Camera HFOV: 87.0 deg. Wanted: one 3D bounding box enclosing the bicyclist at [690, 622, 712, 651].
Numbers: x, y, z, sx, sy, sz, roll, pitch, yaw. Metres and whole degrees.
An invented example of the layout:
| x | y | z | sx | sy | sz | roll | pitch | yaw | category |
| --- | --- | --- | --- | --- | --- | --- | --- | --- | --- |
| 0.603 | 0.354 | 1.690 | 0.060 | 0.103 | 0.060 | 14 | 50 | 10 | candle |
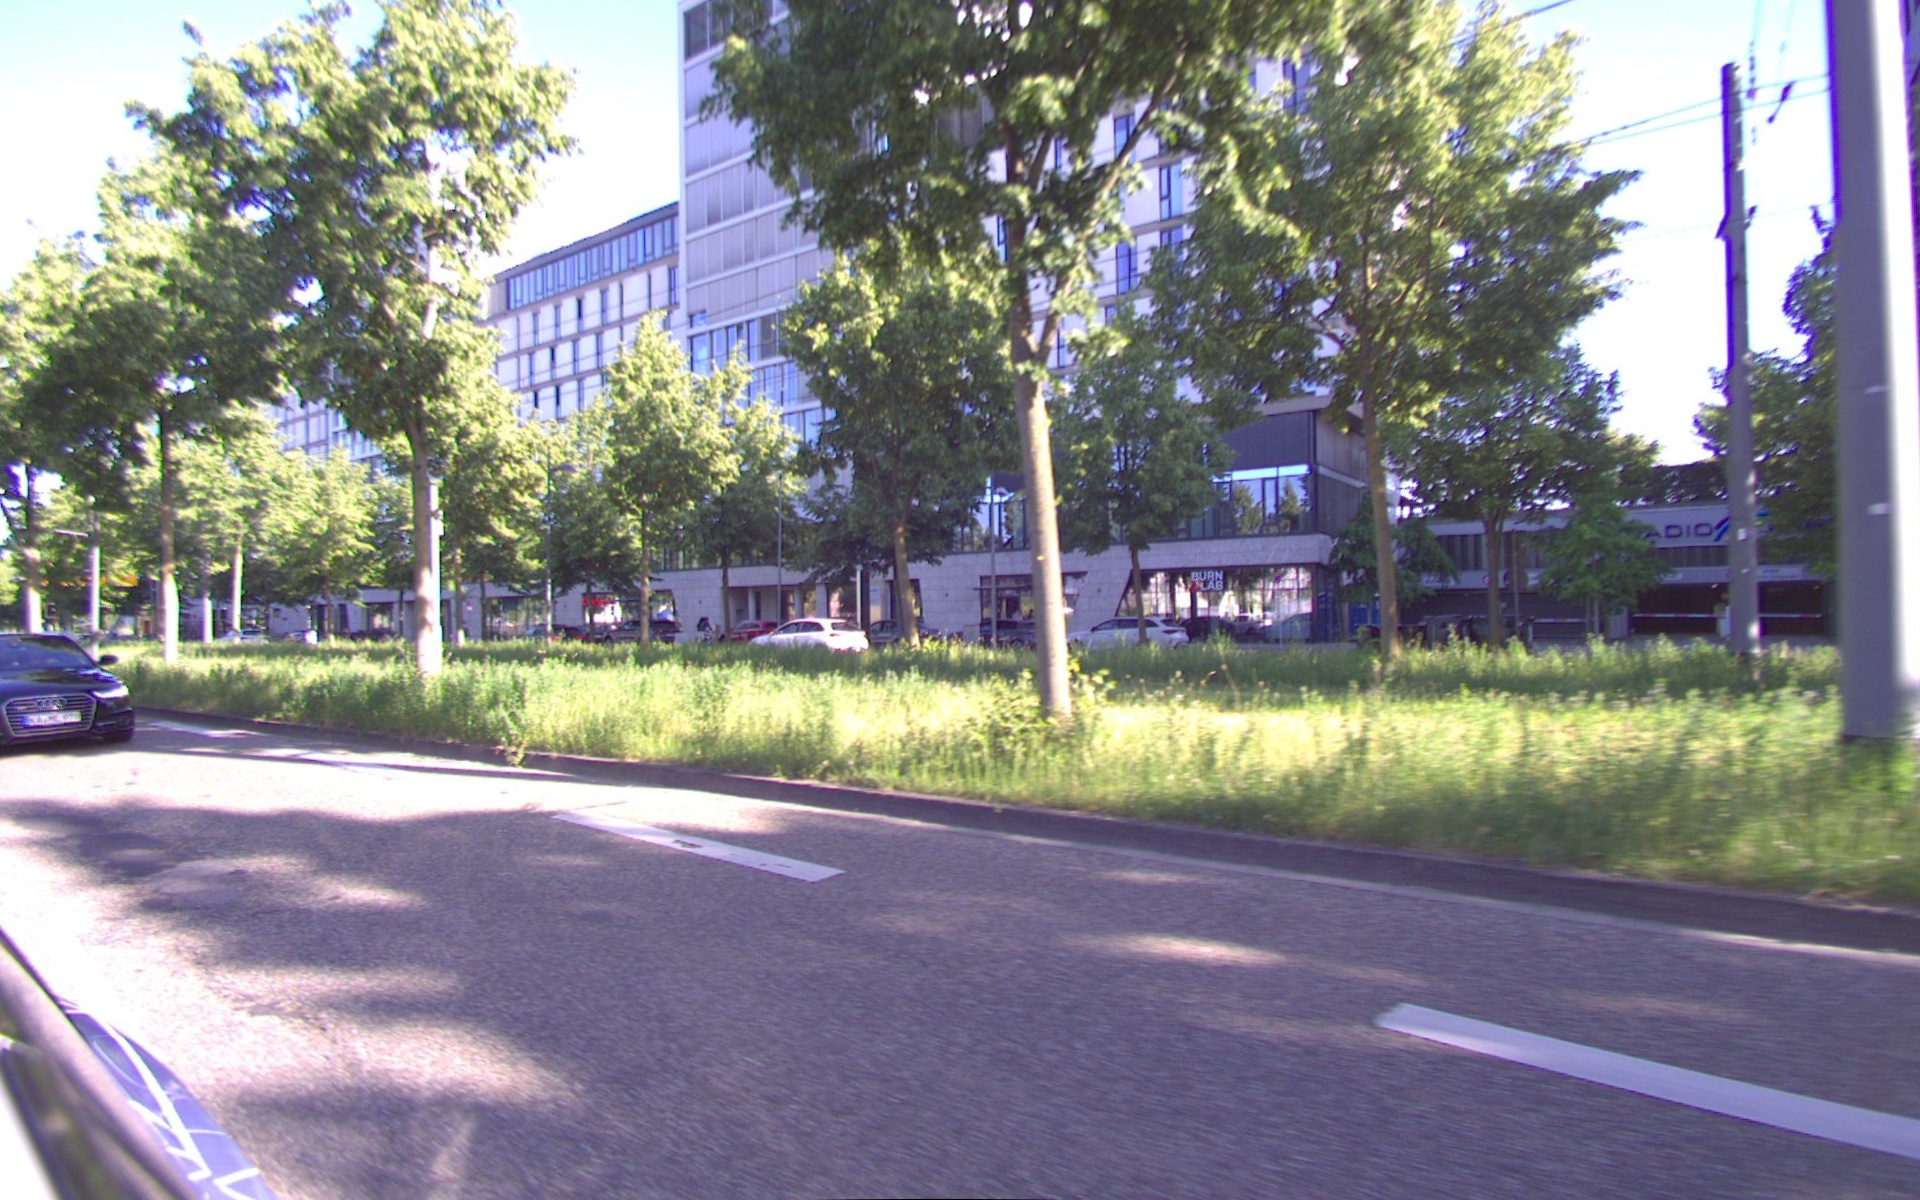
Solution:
| x | y | z | sx | sy | sz | roll | pitch | yaw | category |
| --- | --- | --- | --- | --- | --- | --- | --- | --- | --- |
| -13.361 | 1.878 | 52.289 | 0.830 | 1.474 | 0.713 | -3 | -2 | 38 | bicyclist |

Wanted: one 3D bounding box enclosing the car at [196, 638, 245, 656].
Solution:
| x | y | z | sx | sy | sz | roll | pitch | yaw | category |
| --- | --- | --- | --- | --- | --- | --- | --- | --- | --- |
| -62.573 | 3.950 | 85.581 | 4.534 | 1.431 | 1.982 | -2 | -1 | 35 | car |

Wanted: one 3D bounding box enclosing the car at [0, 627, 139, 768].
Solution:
| x | y | z | sx | sy | sz | roll | pitch | yaw | category |
| --- | --- | --- | --- | --- | --- | --- | --- | --- | --- |
| -12.291 | 1.170 | 12.964 | 4.594 | 1.538 | 1.767 | -2 | -1 | 38 | car |

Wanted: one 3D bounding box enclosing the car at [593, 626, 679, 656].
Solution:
| x | y | z | sx | sy | sz | roll | pitch | yaw | category |
| --- | --- | --- | --- | --- | --- | --- | --- | --- | --- |
| -16.592 | 2.115 | 51.664 | 4.794 | 1.430 | 1.653 | -2 | -2 | 36 | car |

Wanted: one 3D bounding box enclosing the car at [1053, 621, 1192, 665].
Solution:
| x | y | z | sx | sy | sz | roll | pitch | yaw | category |
| --- | --- | --- | --- | --- | --- | --- | --- | --- | --- |
| 5.626 | 1.501 | 35.320 | 4.536 | 1.431 | 1.700 | -2 | -2 | 36 | car |

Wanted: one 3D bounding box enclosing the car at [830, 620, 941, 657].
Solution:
| x | y | z | sx | sy | sz | roll | pitch | yaw | category |
| --- | --- | --- | --- | --- | --- | --- | --- | --- | --- |
| -3.091 | 1.572 | 41.575 | 4.536 | 1.431 | 1.700 | -2 | -1 | 36 | car |

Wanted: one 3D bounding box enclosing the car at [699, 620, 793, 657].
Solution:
| x | y | z | sx | sy | sz | roll | pitch | yaw | category |
| --- | --- | --- | --- | --- | --- | --- | --- | --- | --- |
| -11.343 | 2.053 | 53.485 | 5.116 | 1.790 | 1.783 | -3 | -1 | 35 | car |

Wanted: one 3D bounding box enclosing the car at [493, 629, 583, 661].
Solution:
| x | y | z | sx | sy | sz | roll | pitch | yaw | category |
| --- | --- | --- | --- | --- | --- | --- | --- | --- | --- |
| -18.230 | 1.936 | 43.653 | 3.992 | 1.273 | 1.782 | -2 | -1 | 36 | car |

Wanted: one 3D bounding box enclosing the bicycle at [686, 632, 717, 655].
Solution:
| x | y | z | sx | sy | sz | roll | pitch | yaw | category |
| --- | --- | --- | --- | --- | --- | --- | --- | --- | --- |
| -13.353 | 2.238 | 52.287 | 1.568 | 1.128 | 0.725 | -2 | -2 | 38 | bicycle |

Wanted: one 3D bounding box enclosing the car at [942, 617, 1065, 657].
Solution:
| x | y | z | sx | sy | sz | roll | pitch | yaw | category |
| --- | --- | --- | --- | --- | --- | --- | --- | --- | --- |
| 1.609 | 1.433 | 38.754 | 4.538 | 1.431 | 1.699 | -3 | -2 | 38 | car |

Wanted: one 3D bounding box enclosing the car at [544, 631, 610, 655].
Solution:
| x | y | z | sx | sy | sz | roll | pitch | yaw | category |
| --- | --- | --- | --- | --- | --- | --- | --- | --- | --- |
| -20.690 | 2.298 | 54.624 | 3.575 | 1.216 | 1.653 | -2 | -1 | 35 | car |

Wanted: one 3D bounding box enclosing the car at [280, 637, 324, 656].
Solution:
| x | y | z | sx | sy | sz | roll | pitch | yaw | category |
| --- | --- | --- | --- | --- | --- | --- | --- | --- | --- |
| -49.001 | 3.459 | 75.375 | 3.458 | 1.244 | 1.635 | 0 | 0 | 36 | car |

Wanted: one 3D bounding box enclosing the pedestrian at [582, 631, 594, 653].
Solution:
| x | y | z | sx | sy | sz | roll | pitch | yaw | category |
| --- | --- | --- | --- | --- | --- | --- | --- | --- | --- |
| -23.973 | 2.699 | 65.198 | 0.689 | 1.423 | 0.404 | 0 | 0 | 36 | pedestrian |

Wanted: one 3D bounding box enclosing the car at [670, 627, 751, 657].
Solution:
| x | y | z | sx | sy | sz | roll | pitch | yaw | category |
| --- | --- | --- | --- | --- | --- | --- | --- | --- | --- |
| -11.893 | 2.001 | 48.168 | 3.745 | 1.364 | 1.718 | -2 | -1 | 36 | car |

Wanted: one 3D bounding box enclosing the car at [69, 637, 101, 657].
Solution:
| x | y | z | sx | sy | sz | roll | pitch | yaw | category |
| --- | --- | --- | --- | --- | --- | --- | --- | --- | --- |
| -93.433 | 5.006 | 108.096 | 3.993 | 1.940 | 1.783 | 0 | 0 | 37 | car |

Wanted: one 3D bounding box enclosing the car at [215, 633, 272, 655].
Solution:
| x | y | z | sx | sy | sz | roll | pitch | yaw | category |
| --- | --- | --- | --- | --- | --- | --- | --- | --- | --- |
| -47.723 | 2.925 | 67.386 | 4.301 | 1.302 | 1.782 | -4 | -3 | 35 | car |

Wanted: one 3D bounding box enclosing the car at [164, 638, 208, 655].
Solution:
| x | y | z | sx | sy | sz | roll | pitch | yaw | category |
| --- | --- | --- | --- | --- | --- | --- | --- | --- | --- |
| -68.579 | 4.089 | 89.691 | 4.536 | 1.431 | 1.941 | -2 | -2 | 36 | car |

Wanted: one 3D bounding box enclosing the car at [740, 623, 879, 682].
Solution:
| x | y | z | sx | sy | sz | roll | pitch | yaw | category |
| --- | --- | --- | --- | --- | --- | --- | --- | --- | --- |
| -4.821 | 1.673 | 32.111 | 4.311 | 1.701 | 1.782 | -3 | -1 | 36 | car |
